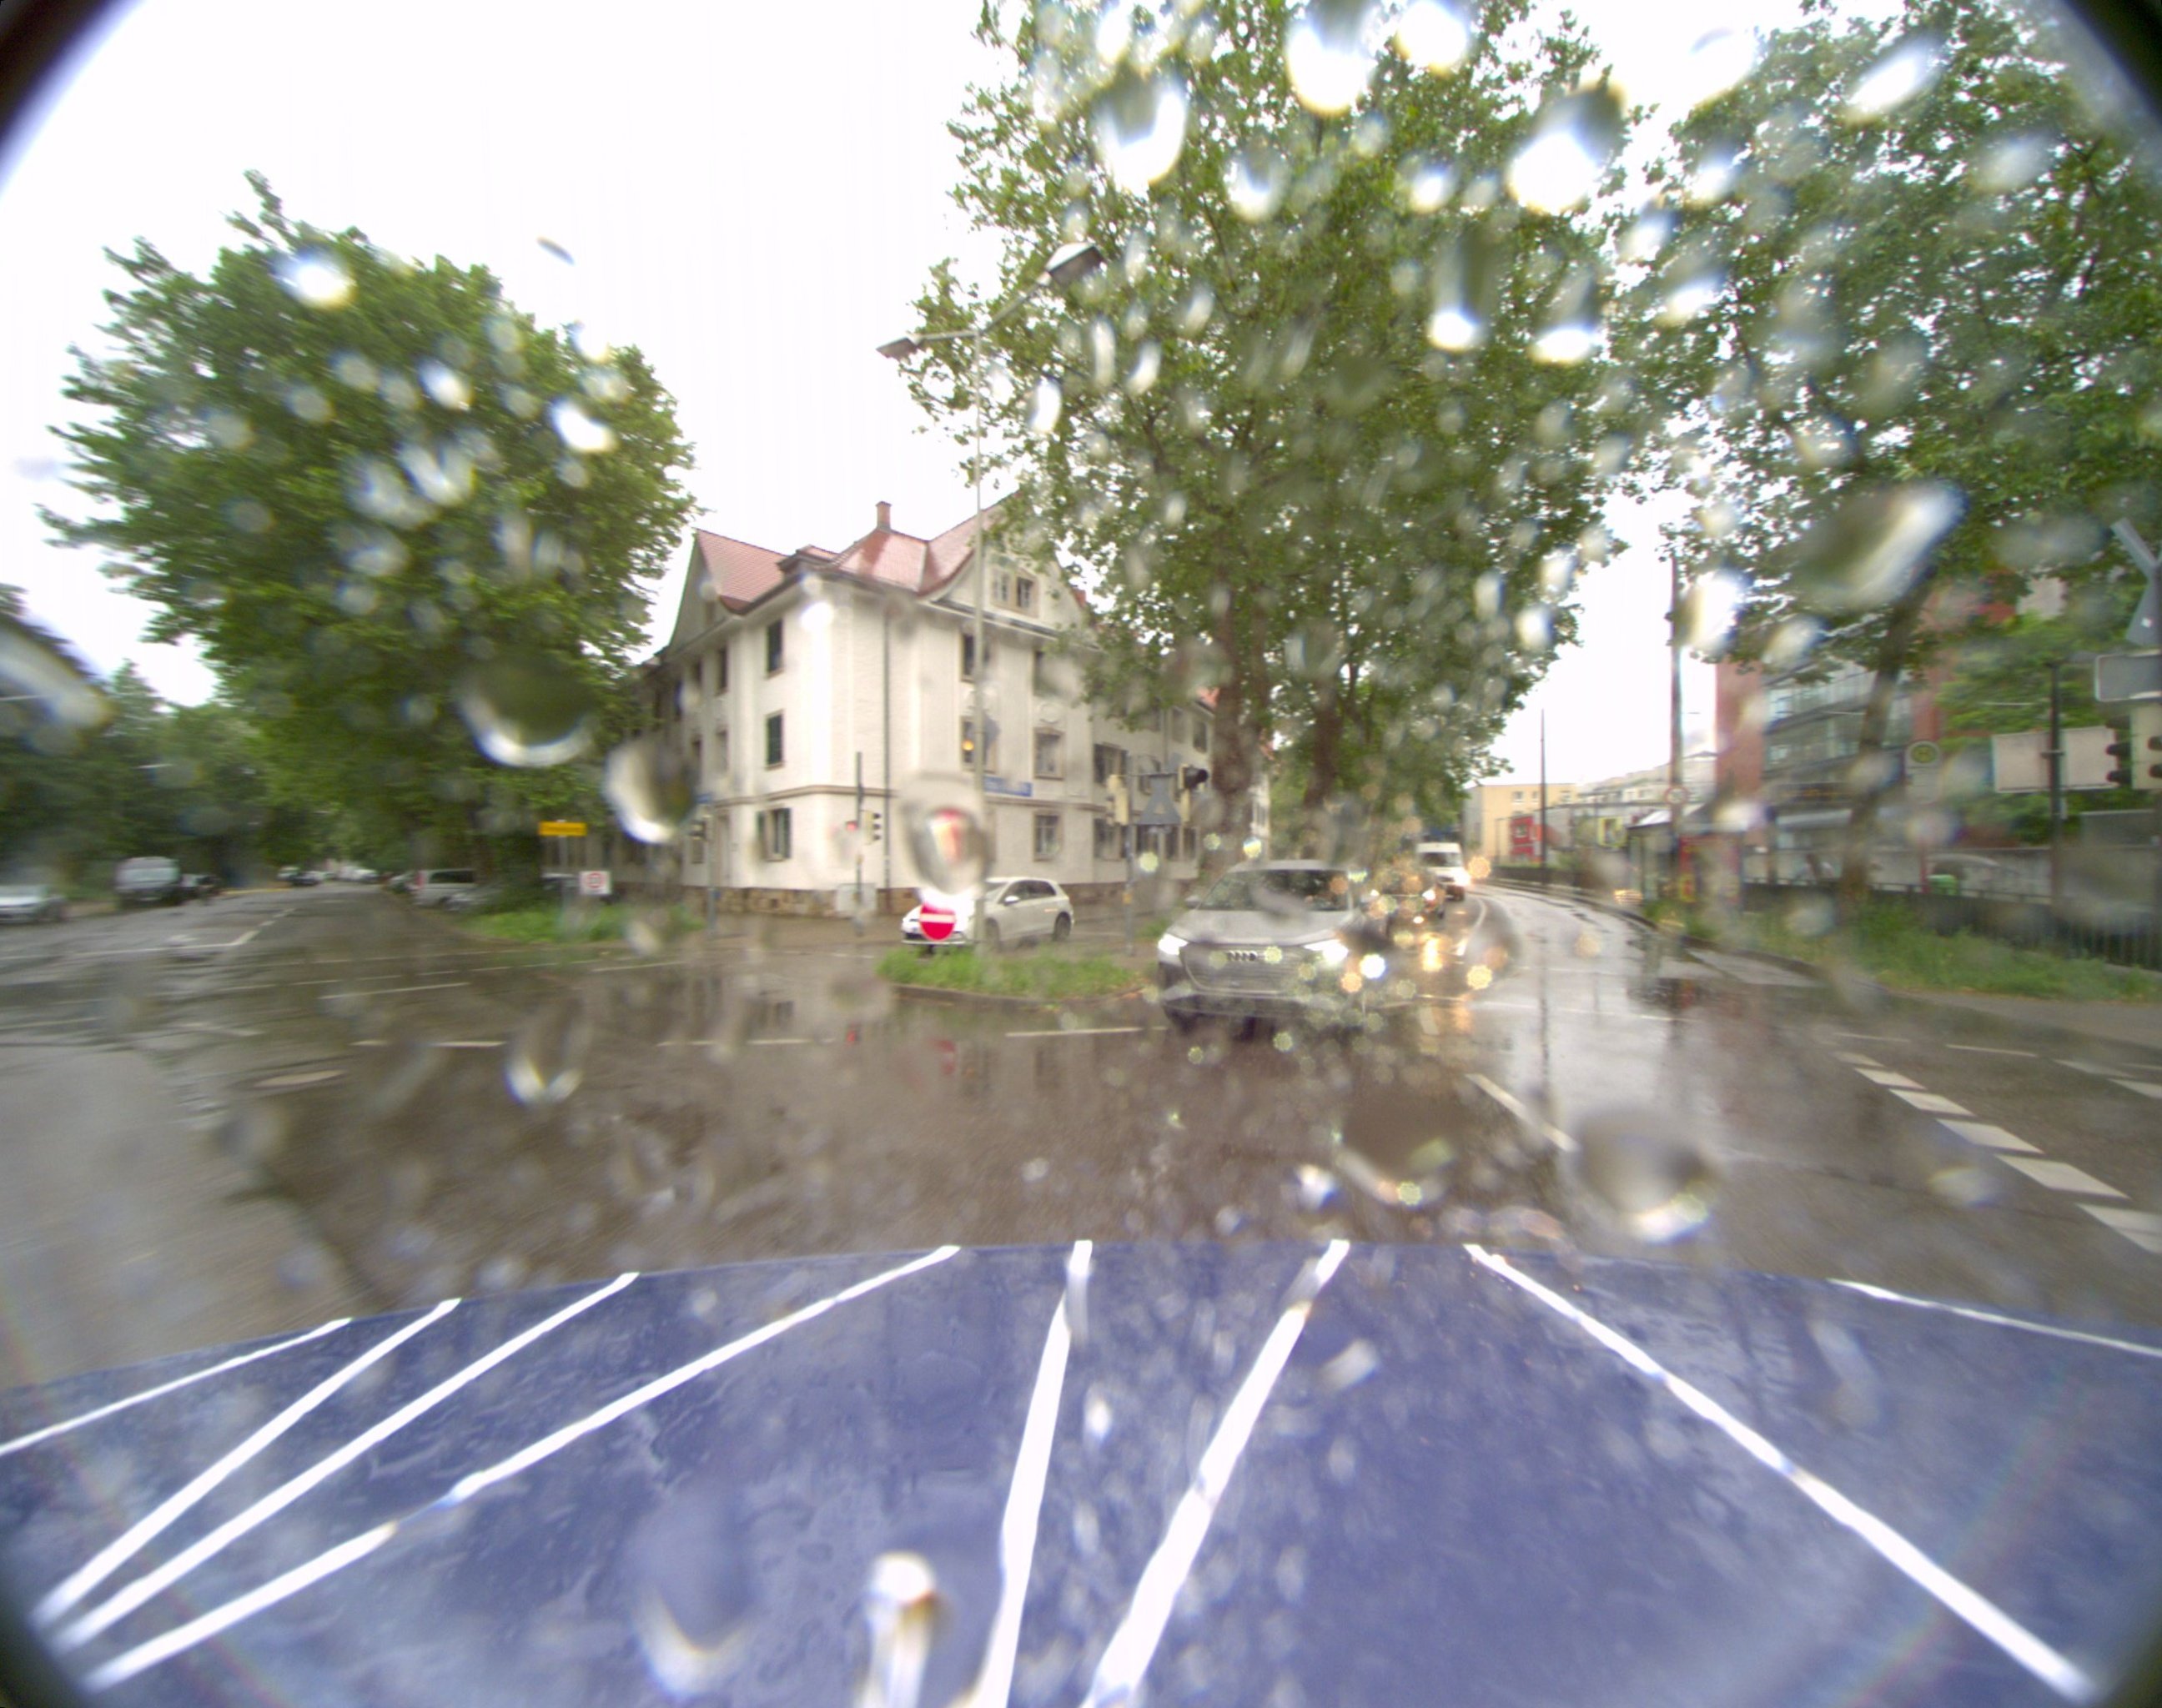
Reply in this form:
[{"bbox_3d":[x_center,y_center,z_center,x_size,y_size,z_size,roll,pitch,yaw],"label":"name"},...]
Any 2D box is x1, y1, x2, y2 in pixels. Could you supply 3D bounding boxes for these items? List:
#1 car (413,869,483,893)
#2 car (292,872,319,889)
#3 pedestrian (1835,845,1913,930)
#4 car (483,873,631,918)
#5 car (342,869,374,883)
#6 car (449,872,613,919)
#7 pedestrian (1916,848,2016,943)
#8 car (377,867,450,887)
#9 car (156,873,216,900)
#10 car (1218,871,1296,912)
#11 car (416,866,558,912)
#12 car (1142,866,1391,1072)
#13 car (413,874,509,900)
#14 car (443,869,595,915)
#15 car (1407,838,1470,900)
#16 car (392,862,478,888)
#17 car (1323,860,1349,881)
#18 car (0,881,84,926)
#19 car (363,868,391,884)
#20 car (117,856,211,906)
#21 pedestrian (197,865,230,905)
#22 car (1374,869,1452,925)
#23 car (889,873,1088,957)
[{"bbox_3d":[-44.813,1.888,53.824,3.731,1.680,1.932,1,-1,-43],"label":"car"},{"bbox_3d":[-85.844,2.865,84.082,4.338,1.795,2.004,-1,0,43],"label":"car"},{"bbox_3d":[17.457,0.731,16.756,0.858,1.821,0.850,0,-1,17],"label":"pedestrian"},{"bbox_3d":[-18.475,1.402,26.915,1.792,1.346,4.008,-1,0,43],"label":"car"},{"bbox_3d":[-86.183,2.638,90.573,3.685,1.613,2.004,-1,0,34],"label":"car"},{"bbox_3d":[-20.626,1.508,28.662,1.925,1.612,4.751,-1,-2,44],"label":"car"},{"bbox_3d":[16.247,0.743,13.977,0.858,1.677,0.850,0,-1,17],"label":"pedestrian"},{"bbox_3d":[-57.495,1.968,65.478,4.682,1.595,2.028,1,-2,-43],"label":"car"},{"bbox_3d":[-55.093,1.979,46.836,2.004,1.530,3.989,-1,0,-44],"label":"car"},{"bbox_3d":[6.967,1.457,29.868,1.924,1.412,3.672,-4,-2,30],"label":"car"},{"bbox_3d":[-25.568,1.465,32.820,4.682,1.862,2.028,1,-1,-43],"label":"car"},{"bbox_3d":[2.248,0.949,8.216,1.806,1.611,4.145,-1,-1,25],"label":"car"},{"bbox_3d":[-38.962,2.020,47.816,4.540,1.561,2.028,1,-2,-43],"label":"car"},{"bbox_3d":[-22.435,1.461,30.438,4.682,1.680,2.028,1,-1,-43],"label":"car"},{"bbox_3d":[16.381,0.623,34.570,2.278,2.547,6.523,-1,0,28],"label":"car"},{"bbox_3d":[-51.228,1.668,60.277,5.101,2.011,2.028,1,-1,-43],"label":"car"},{"bbox_3d":[19.718,1.242,58.757,1.800,1.509,4.006,-1,0,19],"label":"car"},{"bbox_3d":[-38.326,1.770,27.549,1.826,1.451,4.260,-1,0,-42],"label":"car"},{"bbox_3d":[-82.073,2.559,88.597,3.989,1.795,2.004,-1,0,42],"label":"car"},{"bbox_3d":[-48.260,1.387,40.127,2.408,2.460,5.676,1,-1,-43],"label":"car"},{"bbox_3d":[-45.913,1.618,40.226,0.946,2.050,1.078,1,-1,-40],"label":"pedestrian"},{"bbox_3d":[9.287,1.130,21.433,1.850,1.435,4.007,0,-1,22],"label":"car"},{"bbox_3d":[-1.767,1.180,16.068,1.778,1.424,4.408,-2,-1,32],"label":"car"}]
